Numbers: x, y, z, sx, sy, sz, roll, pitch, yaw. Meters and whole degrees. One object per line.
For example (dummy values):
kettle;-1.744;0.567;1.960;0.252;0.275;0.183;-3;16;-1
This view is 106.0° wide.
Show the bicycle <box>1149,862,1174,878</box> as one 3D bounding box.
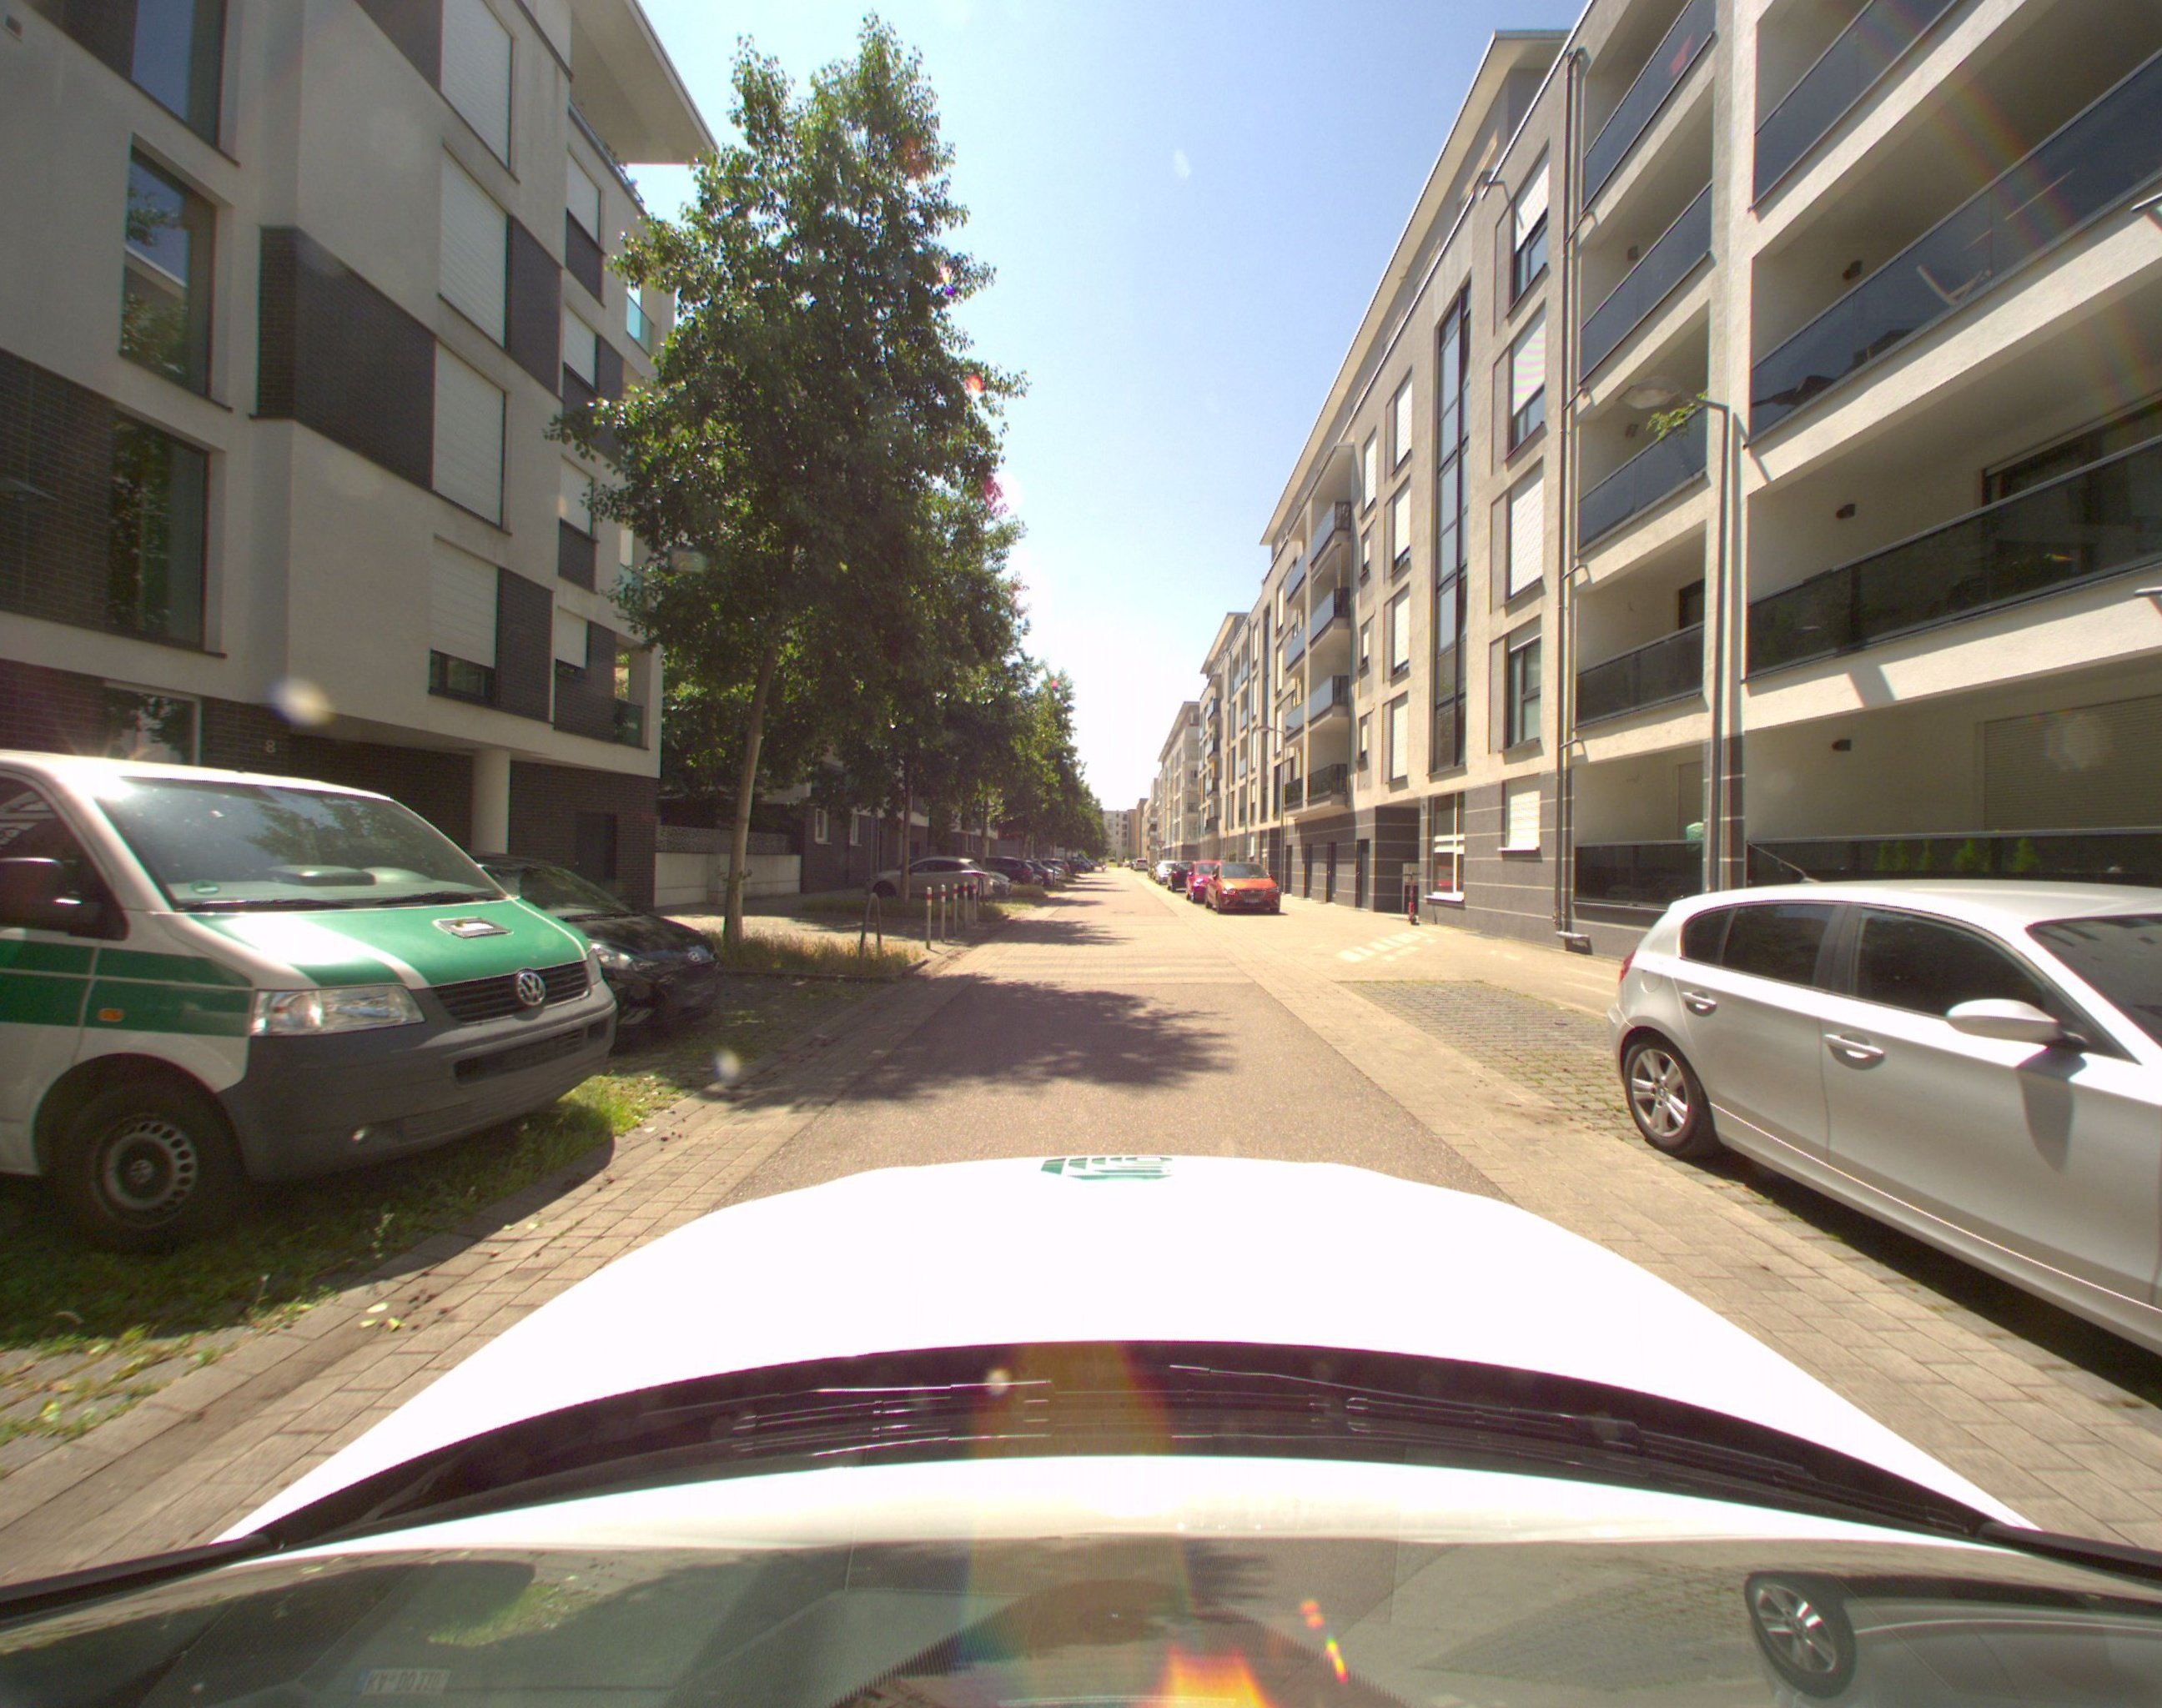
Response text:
bicycle;6.391;1.289;64.903;1.921;1.218;0.459;0;-1;-7

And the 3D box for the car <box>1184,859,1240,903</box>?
car;4.714;0.924;29.698;1.589;1.486;3.678;-1;0;2

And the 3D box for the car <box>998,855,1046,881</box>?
car;-3.860;0.931;53.606;2.922;1.500;1.848;3;0;1

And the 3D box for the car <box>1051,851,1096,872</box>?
car;-0.982;1.007;112.296;6.000;2.816;2.606;0;-1;2

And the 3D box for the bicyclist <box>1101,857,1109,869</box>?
bicyclist;2.962;1.122;101.178;0.950;1.459;0.800;1;-1;1

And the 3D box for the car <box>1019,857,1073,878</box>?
car;-2.714;1.062;63.639;4.169;1.486;1.957;2;-2;-2

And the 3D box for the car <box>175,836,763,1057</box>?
car;-4.865;0.690;6.865;3.610;1.481;1.678;2;-1;1

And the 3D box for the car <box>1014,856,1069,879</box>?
car;-2.928;1.009;60.747;3.923;1.553;1.873;2;0;1

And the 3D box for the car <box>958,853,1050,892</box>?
car;-3.589;0.848;38.506;3.969;1.651;1.920;2;0;3

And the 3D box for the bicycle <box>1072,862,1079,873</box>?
bicycle;-0.577;1.460;89.517;0.569;1.174;1.766;4;1;-5

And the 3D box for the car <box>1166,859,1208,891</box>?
car;5.073;0.974;39.465;1.636;1.462;4.119;-1;0;2

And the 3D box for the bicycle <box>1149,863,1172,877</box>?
bicycle;6.403;1.277;65.488;1.838;1.148;0.458;0;-1;-17

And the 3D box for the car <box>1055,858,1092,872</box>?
car;-0.874;1.373;99.659;4.366;1.515;2.076;3;0;2

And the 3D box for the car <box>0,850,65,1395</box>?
car;-5.163;0.705;1.332;4.406;1.490;2.000;1;-1;0

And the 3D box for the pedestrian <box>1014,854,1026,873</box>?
pedestrian;-5.618;0.862;74.872;0.996;1.690;0.833;0;-1;3

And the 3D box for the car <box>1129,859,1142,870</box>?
car;8.512;1.602;126.703;1.749;1.552;4.006;1;0;6

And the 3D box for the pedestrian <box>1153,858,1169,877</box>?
pedestrian;6.399;1.098;65.033;1.178;1.515;0.686;0;-1;-8

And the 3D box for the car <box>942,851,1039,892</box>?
car;-3.940;0.763;35.989;3.972;1.629;1.934;2;0;2

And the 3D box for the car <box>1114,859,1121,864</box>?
car;11.497;2.347;258.705;1.986;1.519;4.001;1;0;1

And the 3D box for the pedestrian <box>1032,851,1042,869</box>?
pedestrian;-4.965;0.629;92.103;1.004;2.014;1.131;0;-1;5

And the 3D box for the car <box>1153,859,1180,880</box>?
car;6.171;1.090;59.158;1.732;1.485;4.231;0;0;2

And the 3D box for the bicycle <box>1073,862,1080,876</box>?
bicycle;-0.411;1.333;71.011;0.371;1.180;1.815;0;-1;-10

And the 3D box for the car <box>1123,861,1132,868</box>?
car;11.582;2.575;202.456;1.986;1.717;4.001;1;0;1

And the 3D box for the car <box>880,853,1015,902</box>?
car;-4.600;0.797;28.529;4.300;1.476;1.793;2;0;2

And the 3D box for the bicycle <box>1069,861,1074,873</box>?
bicycle;-1.008;1.423;89.537;0.432;1.204;1.701;2;1;3

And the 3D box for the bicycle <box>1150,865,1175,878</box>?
bicycle;6.398;1.359;64.240;1.918;1.035;0.559;0;-1;-2

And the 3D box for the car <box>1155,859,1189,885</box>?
car;5.651;1.090;50.847;1.827;1.505;4.353;-1;0;2

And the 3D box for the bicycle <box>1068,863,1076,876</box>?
bicycle;-0.772;1.358;70.993;0.434;1.128;1.972;0;-1;-10

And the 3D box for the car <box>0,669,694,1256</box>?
car;-5.183;0.368;4.180;5.318;2.111;2.189;1;-1;4

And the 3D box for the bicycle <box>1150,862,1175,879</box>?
bicycle;6.299;1.269;62.802;1.865;1.218;0.715;0;-1;-2

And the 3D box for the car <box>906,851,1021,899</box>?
car;-4.439;0.775;31.088;3.971;1.592;1.885;2;0;2

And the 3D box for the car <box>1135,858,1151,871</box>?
car;8.035;1.351;106.590;1.989;1.657;4.118;0;0;3

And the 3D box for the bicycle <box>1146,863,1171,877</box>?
bicycle;6.285;1.306;65.857;1.911;1.133;0.611;0;-1;11

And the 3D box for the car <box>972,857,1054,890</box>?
car;-3.371;0.972;41.145;3.964;1.445;1.774;2;-1;-2

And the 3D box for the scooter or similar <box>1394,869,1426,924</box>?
scooter or similar;7.771;0.980;19.262;0.541;1.225;1.536;2;0;17

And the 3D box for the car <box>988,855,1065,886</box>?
car;-3.183;0.961;48.162;4.347;1.710;1.999;-1;0;-1

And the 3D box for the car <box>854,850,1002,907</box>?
car;-4.825;0.753;26.088;4.236;1.517;1.925;3;0;1

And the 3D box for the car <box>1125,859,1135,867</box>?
car;10.610;1.960;175.238;1.986;1.675;4.001;1;0;1

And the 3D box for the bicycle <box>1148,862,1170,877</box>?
bicycle;6.487;1.303;67.850;1.850;1.193;0.688;0;-1;5

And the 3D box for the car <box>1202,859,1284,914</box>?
car;4.695;0.894;24.158;1.730;1.487;4.261;0;0;2

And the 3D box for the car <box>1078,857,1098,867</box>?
car;1.430;1.665;171.116;3.964;2.014;2.005;1;-1;8

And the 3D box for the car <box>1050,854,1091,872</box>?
car;-1.336;1.170;106.868;5.125;2.119;2.313;2;0;2

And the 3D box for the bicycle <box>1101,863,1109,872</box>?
bicycle;2.963;1.703;101.190;0.895;1.129;2.040;1;0;2

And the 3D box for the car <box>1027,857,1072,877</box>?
car;-2.610;1.060;68.559;3.616;1.520;1.833;2;0;2

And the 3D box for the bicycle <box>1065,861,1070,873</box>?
bicycle;-1.460;1.409;89.804;0.517;1.204;1.752;2;1;0

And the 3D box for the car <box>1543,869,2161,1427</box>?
car;3.776;0.798;2.994;1.838;1.416;4.429;1;-1;3

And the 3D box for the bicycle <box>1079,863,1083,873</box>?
bicycle;0.020;1.522;89.718;0.464;1.141;1.926;1;0;0
